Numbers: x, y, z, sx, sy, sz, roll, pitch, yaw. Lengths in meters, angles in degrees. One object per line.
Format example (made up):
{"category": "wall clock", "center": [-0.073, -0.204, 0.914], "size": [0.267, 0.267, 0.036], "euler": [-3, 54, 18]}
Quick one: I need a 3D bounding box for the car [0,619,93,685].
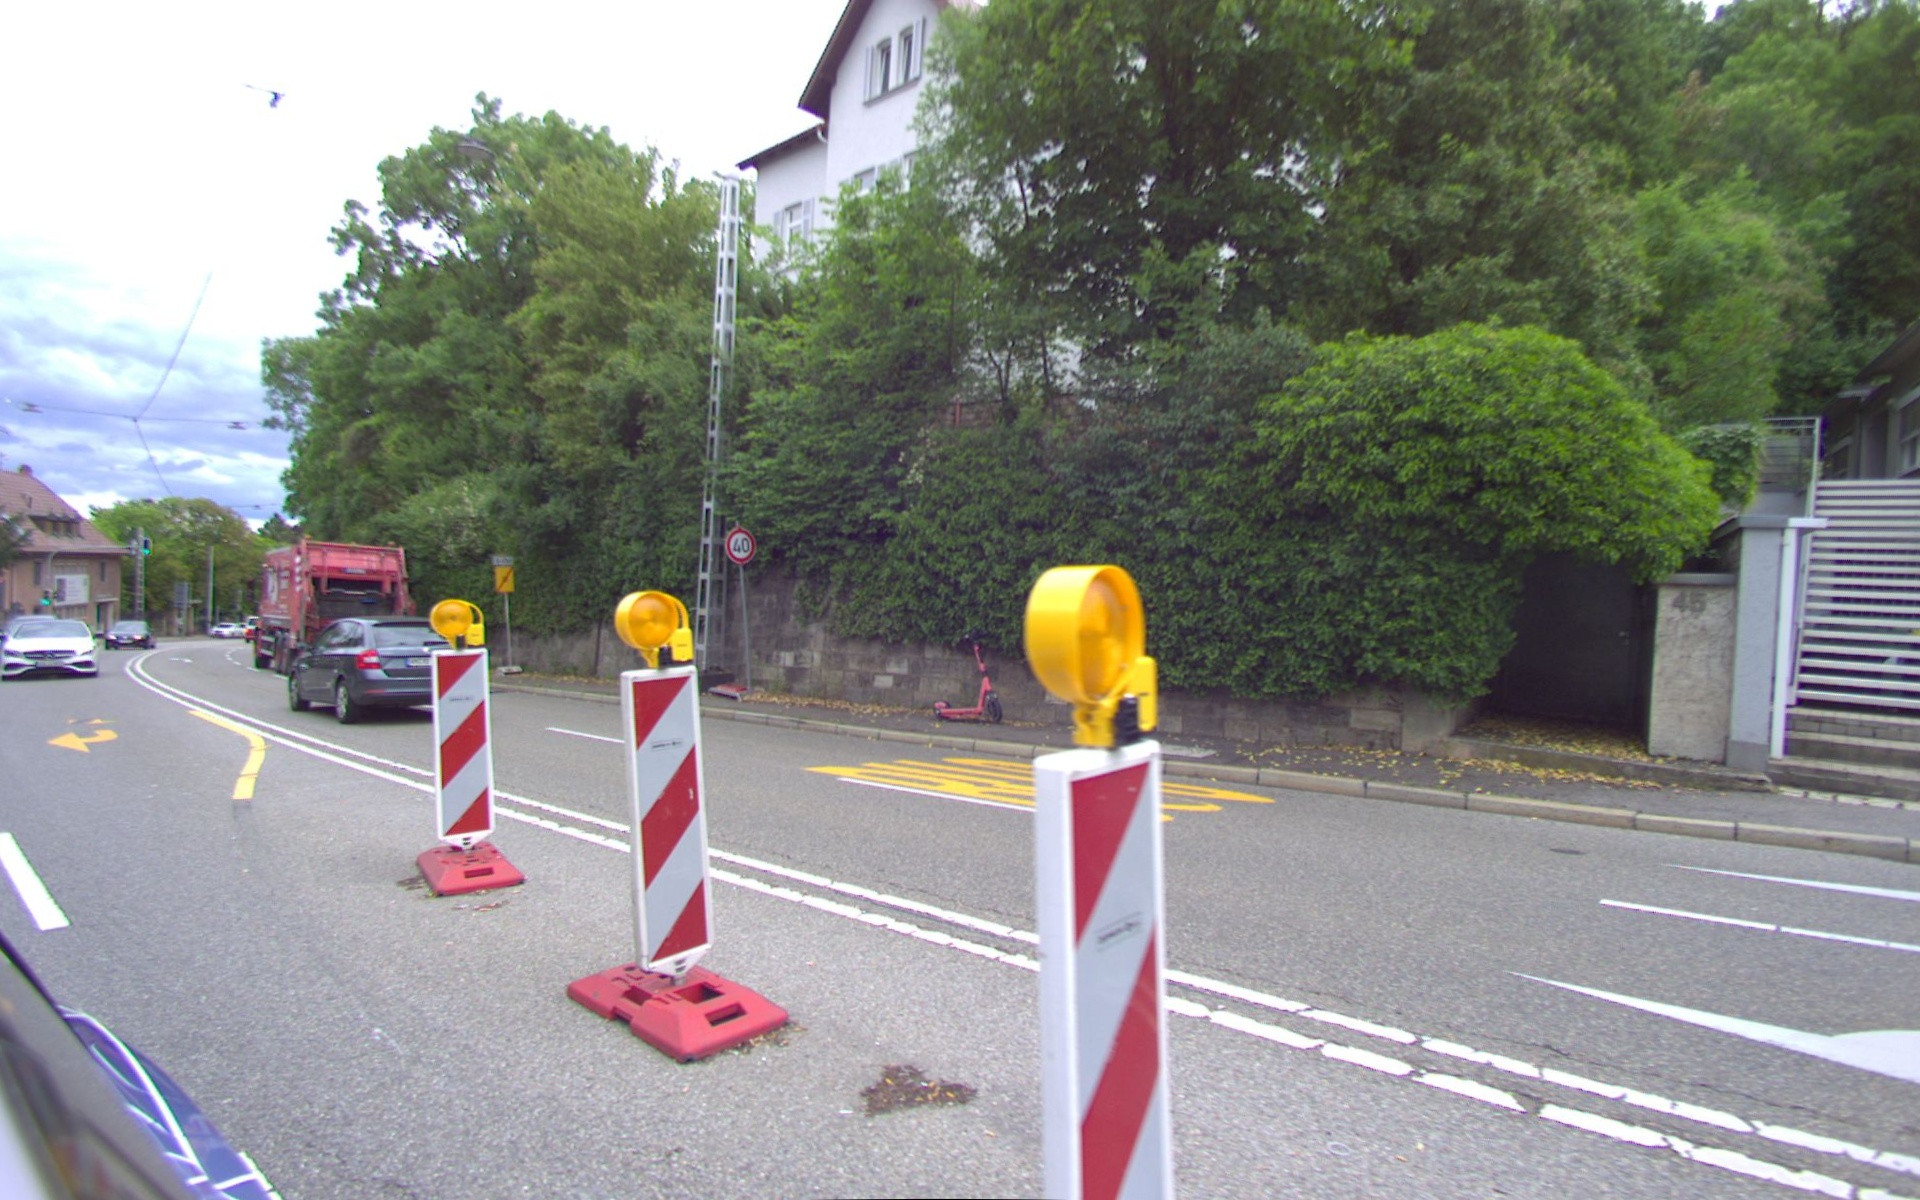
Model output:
{"category": "car", "center": [-22.555, 1.216, 24.878], "size": [1.766, 1.492, 4.250], "euler": [1, -2, -42]}

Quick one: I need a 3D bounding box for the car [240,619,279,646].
{"category": "car", "center": [-52.694, 2.480, 76.164], "size": [1.962, 1.920, 4.258], "euler": [3, -3, -29]}

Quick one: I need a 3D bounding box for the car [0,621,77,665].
{"category": "car", "center": [-33.524, 1.552, 36.874], "size": [1.771, 1.522, 4.008], "euler": [2, -2, -38]}

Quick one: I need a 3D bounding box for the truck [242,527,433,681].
{"category": "truck", "center": [-18.236, 0.264, 29.251], "size": [2.825, 3.726, 9.669], "euler": [5, -4, -42]}

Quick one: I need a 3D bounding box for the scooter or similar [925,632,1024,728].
{"category": "scooter or similar", "center": [0.188, 1.053, 13.610], "size": [1.278, 1.218, 0.425], "euler": [-1, 1, 32]}

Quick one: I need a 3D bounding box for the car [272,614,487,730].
{"category": "car", "center": [-8.610, 0.979, 14.868], "size": [4.001, 1.472, 1.694], "euler": [-1, -3, 44]}

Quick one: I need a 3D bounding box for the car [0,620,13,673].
{"category": "car", "center": [-29.226, 1.383, 29.548], "size": [1.764, 1.563, 4.255], "euler": [-1, -1, -36]}

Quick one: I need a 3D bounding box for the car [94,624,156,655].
{"category": "car", "center": [-42.837, 2.001, 51.998], "size": [1.763, 1.492, 4.258], "euler": [-1, -1, -30]}

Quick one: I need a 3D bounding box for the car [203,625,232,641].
{"category": "car", "center": [-71.783, 3.188, 97.889], "size": [1.763, 1.492, 4.258], "euler": [-1, -1, -30]}
